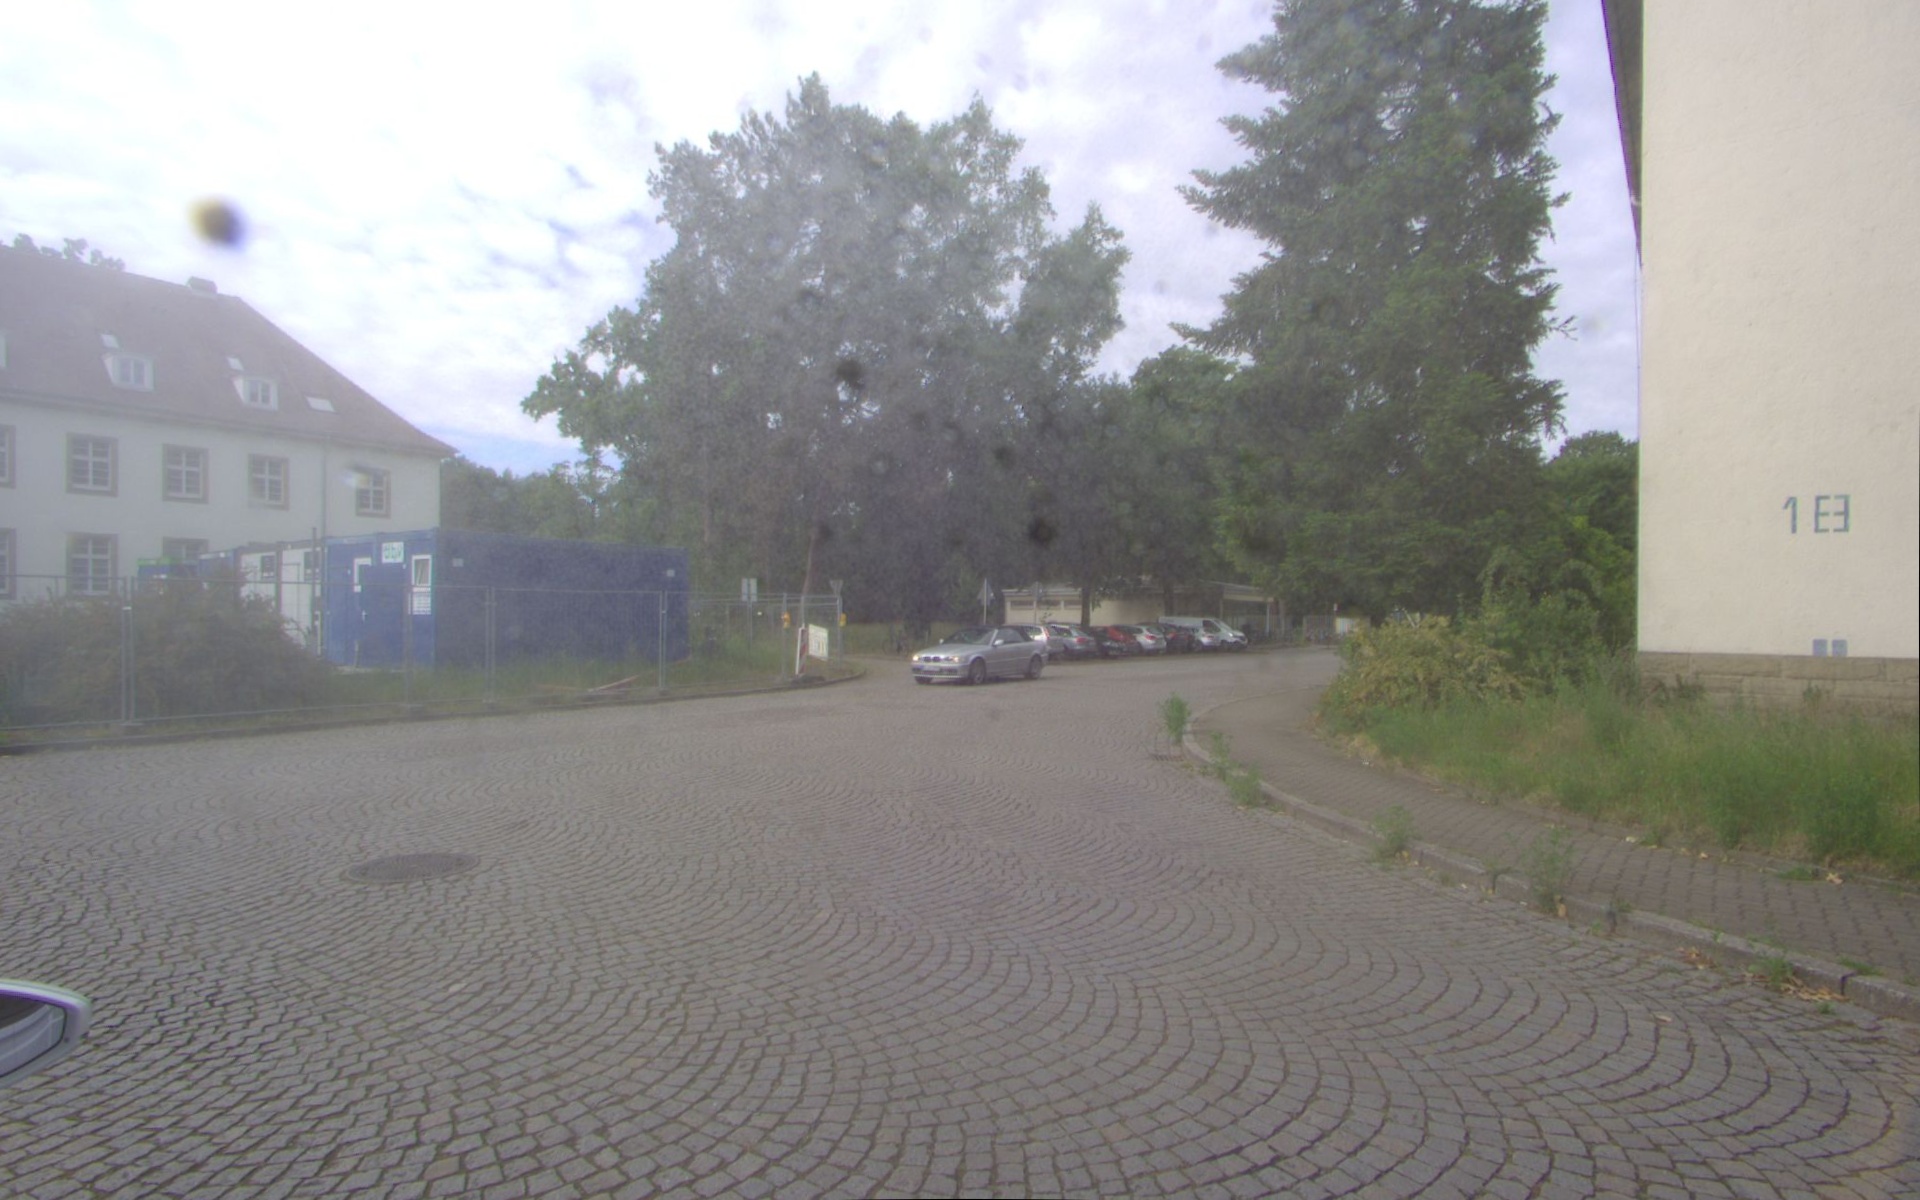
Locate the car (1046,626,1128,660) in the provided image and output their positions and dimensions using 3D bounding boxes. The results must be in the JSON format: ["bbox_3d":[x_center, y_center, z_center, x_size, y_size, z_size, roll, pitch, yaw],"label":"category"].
[{"bbox_3d":[5.722,1.914,45.153,3.313,1.338,1.635,2,0,28],"label":"car"}]

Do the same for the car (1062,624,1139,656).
[{"bbox_3d":[6.693,1.889,47.825,3.320,1.379,1.439,2,0,36],"label":"car"}]

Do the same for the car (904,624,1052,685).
[{"bbox_3d":[0.541,1.277,24.667,1.585,1.363,4.270,-1,-2,34],"label":"car"}]

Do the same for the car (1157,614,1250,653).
[{"bbox_3d":[14.057,1.924,57.963,4.891,2.017,1.687,2,0,37],"label":"car"}]

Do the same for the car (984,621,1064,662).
[{"bbox_3d":[2.623,1.686,41.120,2.978,1.508,1.318,2,0,28],"label":"car"}]

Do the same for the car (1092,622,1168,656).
[{"bbox_3d":[8.334,1.883,49.135,3.314,1.462,1.559,2,0,29],"label":"car"}]

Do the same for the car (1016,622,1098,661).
[{"bbox_3d":[4.145,1.743,42.860,3.171,1.467,1.384,2,0,28],"label":"car"}]

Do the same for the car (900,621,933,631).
[{"bbox_3d":[-4.461,2.658,103.083,3.326,1.078,1.256,0,-1,2],"label":"car"}]

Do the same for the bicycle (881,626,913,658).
[{"bbox_3d":[-2.433,1.598,38.414,0.507,1.182,1.795,0,-1,-30],"label":"bicycle"}]

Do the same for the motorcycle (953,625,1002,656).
[{"bbox_3d":[0.676,1.592,39.582,1.936,1.180,0.516,0,0,31],"label":"motorcycle"}]

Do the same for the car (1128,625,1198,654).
[{"bbox_3d":[10.897,2.093,53.779,3.317,1.336,1.467,2,0,32],"label":"car"}]

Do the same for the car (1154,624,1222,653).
[{"bbox_3d":[12.673,2.130,55.681,3.317,1.425,1.558,2,0,32],"label":"car"}]

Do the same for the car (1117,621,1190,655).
[{"bbox_3d":[9.970,1.948,51.570,3.317,1.533,1.558,2,0,32],"label":"car"}]
